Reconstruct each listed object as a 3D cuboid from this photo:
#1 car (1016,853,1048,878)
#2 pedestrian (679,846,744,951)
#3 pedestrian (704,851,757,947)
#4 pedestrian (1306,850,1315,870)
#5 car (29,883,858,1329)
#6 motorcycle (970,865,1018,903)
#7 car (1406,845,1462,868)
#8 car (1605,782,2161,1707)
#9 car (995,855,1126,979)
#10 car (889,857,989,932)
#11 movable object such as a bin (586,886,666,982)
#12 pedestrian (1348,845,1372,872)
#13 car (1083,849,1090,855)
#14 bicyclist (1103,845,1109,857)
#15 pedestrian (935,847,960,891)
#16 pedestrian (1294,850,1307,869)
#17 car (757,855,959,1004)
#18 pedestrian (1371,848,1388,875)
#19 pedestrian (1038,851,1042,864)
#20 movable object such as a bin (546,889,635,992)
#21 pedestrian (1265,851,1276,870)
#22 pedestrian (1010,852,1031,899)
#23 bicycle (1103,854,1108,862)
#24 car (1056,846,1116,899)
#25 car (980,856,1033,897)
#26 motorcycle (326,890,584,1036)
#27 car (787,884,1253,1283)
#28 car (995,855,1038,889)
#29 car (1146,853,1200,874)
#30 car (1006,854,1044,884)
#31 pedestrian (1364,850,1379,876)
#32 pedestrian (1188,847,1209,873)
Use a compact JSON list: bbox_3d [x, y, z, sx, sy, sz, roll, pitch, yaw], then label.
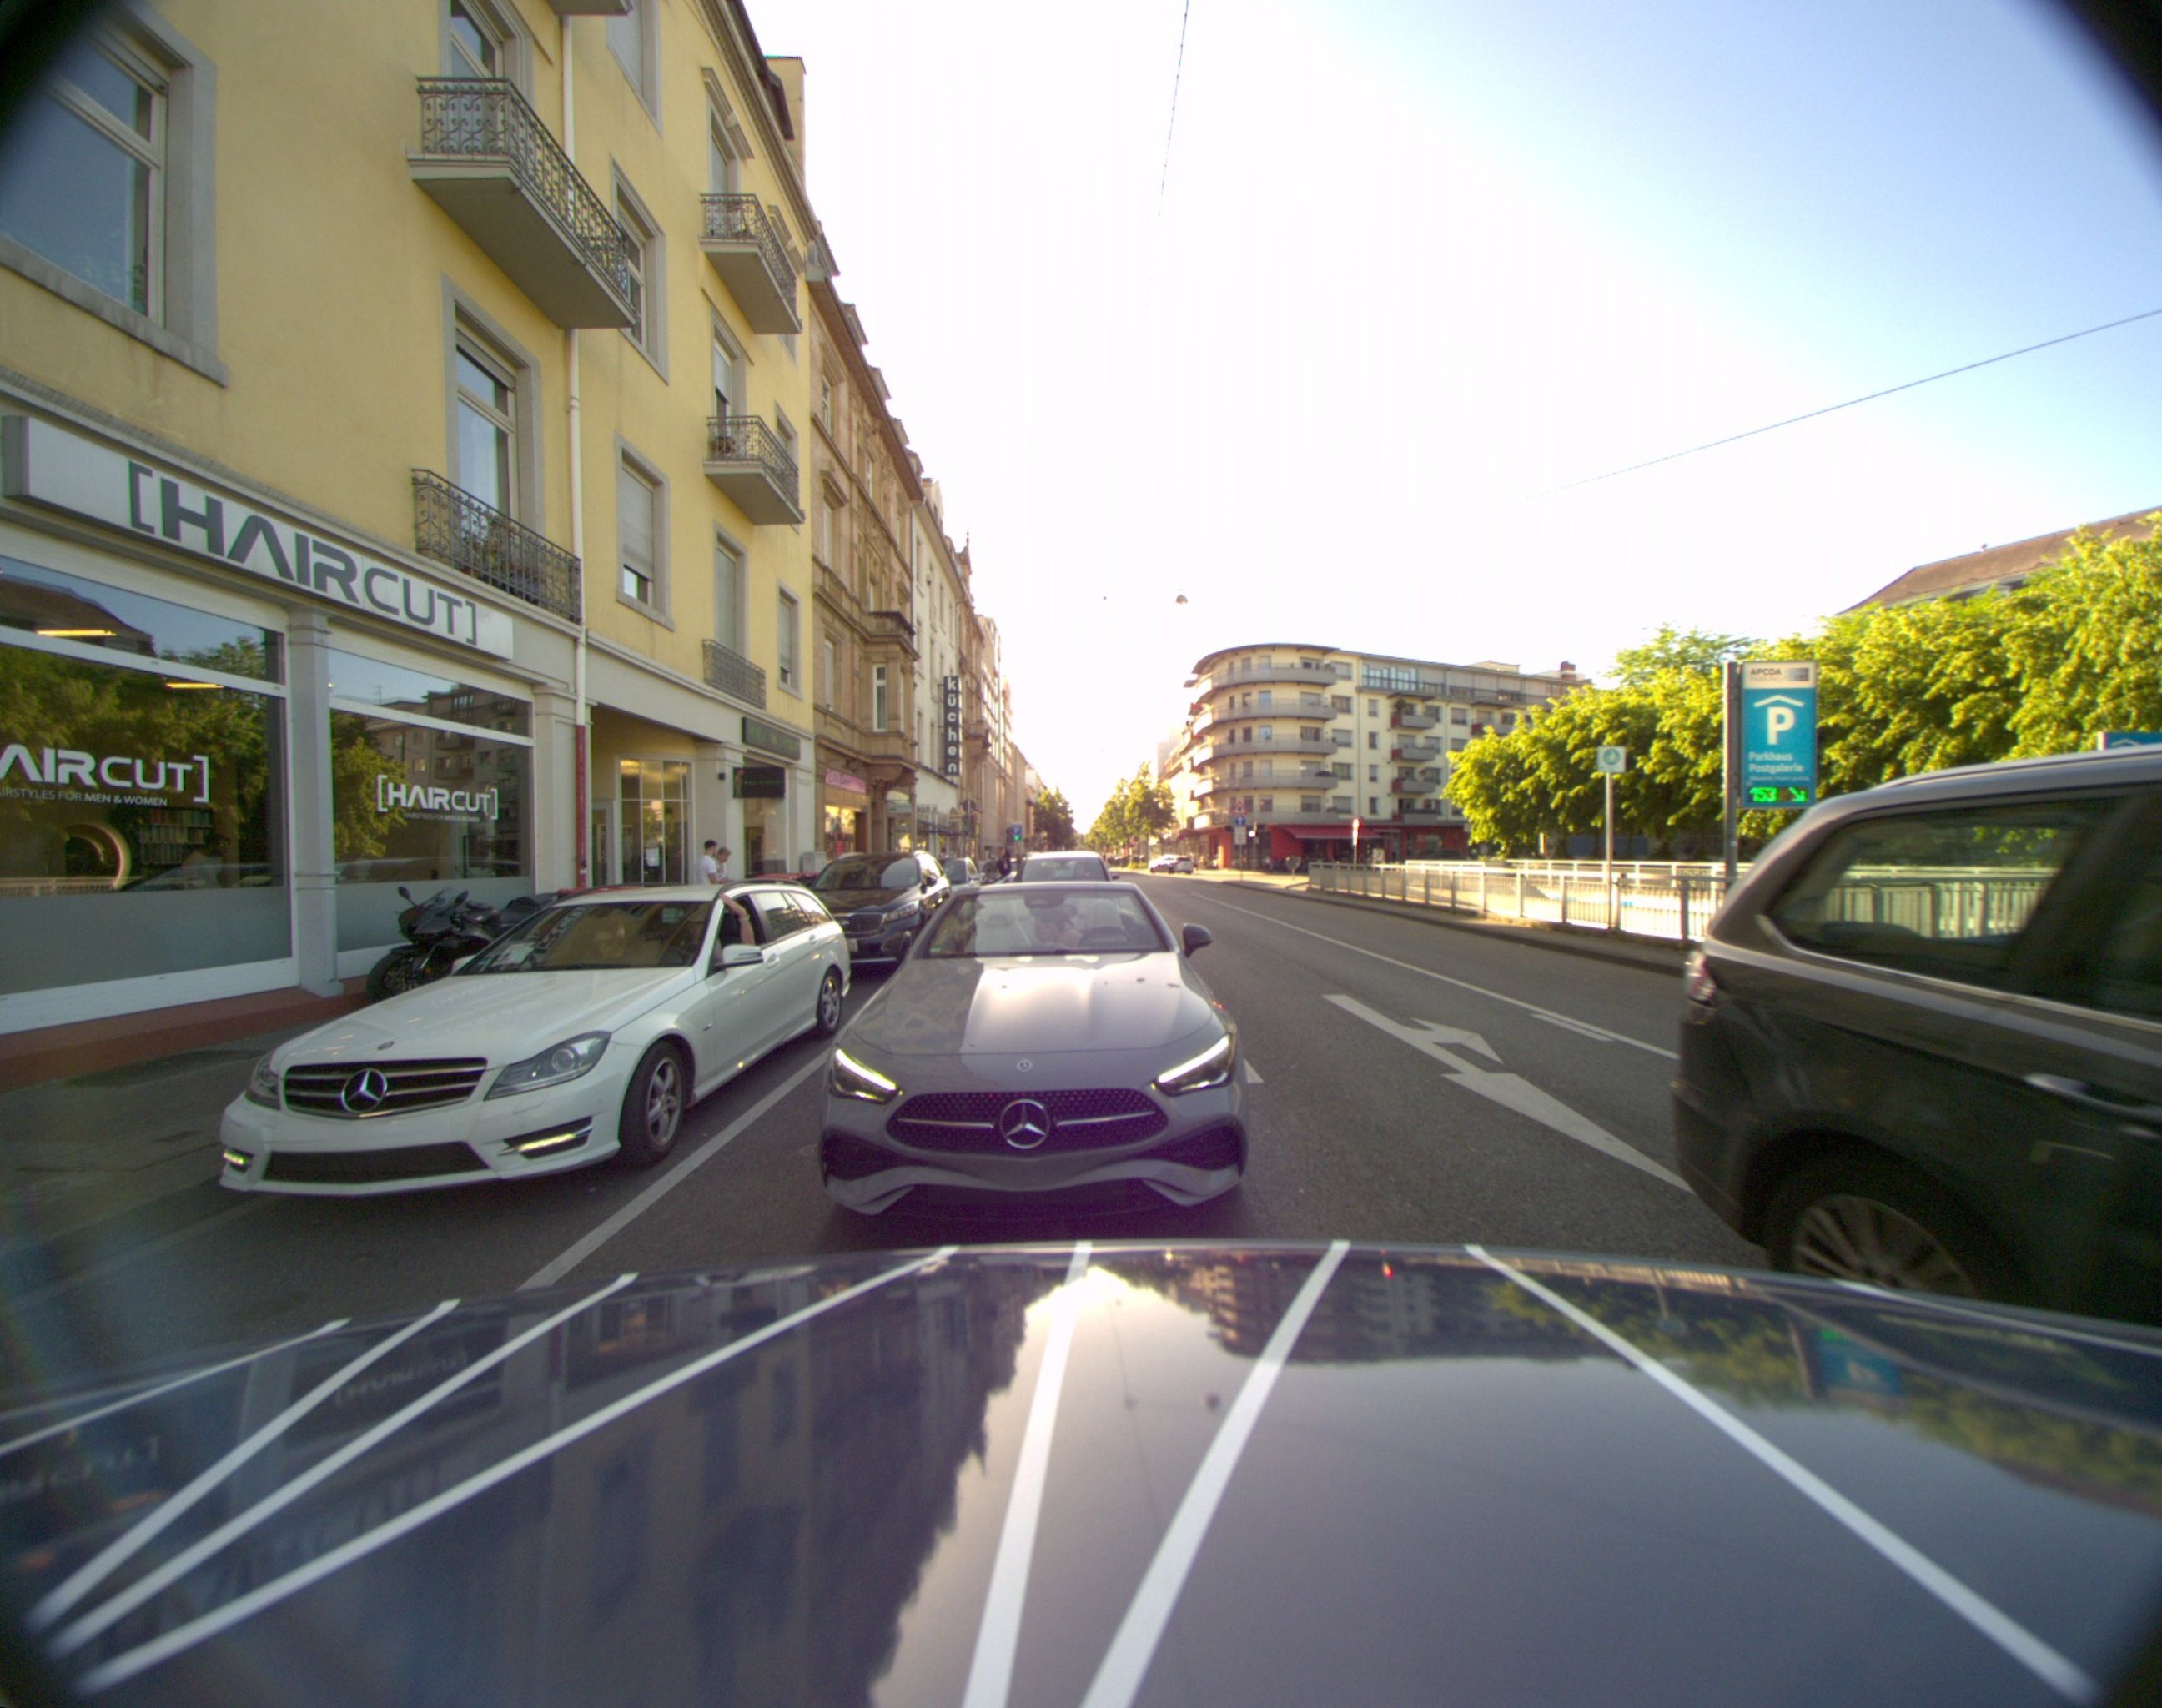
[{"bbox_3d":[-3.025,0.686,47.600,1.715,1.477,4.062,-1,0,0],"label":"car"},{"bbox_3d":[-5.857,0.685,12.079,0.642,1.607,0.701,-1,1,-1],"label":"pedestrian"},{"bbox_3d":[-6.083,0.767,13.212,0.572,1.607,0.643,-1,1,2],"label":"pedestrian"},{"bbox_3d":[17.950,0.458,59.506,0.581,1.481,0.793,-1,1,13],"label":"pedestrian"},{"bbox_3d":[-3.077,1.041,5.179,1.759,1.453,4.597,-1,0,0],"label":"car"},{"bbox_3d":[-3.058,1.043,26.795,0.769,1.225,1.546,-1,1,42],"label":"motorcycle"},{"bbox_3d":[29.033,0.171,62.458,4.004,1.740,1.996,-2,1,-23],"label":"car"},{"bbox_3d":[2.905,0.750,0.383,1.999,1.761,4.727,-1,0,0],"label":"car"},{"bbox_3d":[-0.251,0.846,12.184,1.716,1.599,4.000,-1,0,1],"label":"car"},{"bbox_3d":[-3.256,0.888,17.900,1.696,1.559,3.018,-1,0,1],"label":"car"},{"bbox_3d":[-6.059,1.049,10.147,0.647,1.200,0.644,-1,1,1],"label":"movable object such as a bin"},{"bbox_3d":[21.736,0.338,59.210,1.234,2.002,1.259,-2,1,-21],"label":"pedestrian"},{"bbox_3d":[1.669,-0.514,237.333,1.998,1.805,4.000,-1,0,1],"label":"car"},{"bbox_3d":[3.472,-0.479,106.679,0.757,1.651,1.144,-2,1,5],"label":"bicyclist"},{"bbox_3d":[-5.016,0.551,28.587,0.795,1.607,0.763,-1,1,-1],"label":"pedestrian"},{"bbox_3d":[17.689,0.436,61.161,0.583,1.453,0.790,-2,1,-37],"label":"pedestrian"},{"bbox_3d":[-3.001,0.888,11.325,1.858,1.688,4.697,-1,0,-4],"label":"car"},{"bbox_3d":[20.287,0.526,51.584,0.755,1.795,0.756,-2,1,-15],"label":"pedestrian"},{"bbox_3d":[-5.904,0.499,109.230,0.527,1.875,0.569,-1,1,0],"label":"pedestrian"},{"bbox_3d":[-6.109,1.059,9.495,0.647,1.200,0.644,-1,1,1],"label":"movable object such as a bin"},{"bbox_3d":[15.052,0.496,60.278,0.791,1.452,0.583,-1,1,10],"label":"pedestrian"},{"bbox_3d":[-2.168,0.759,27.467,0.693,1.657,0.834,-1,1,-3],"label":"pedestrian"},{"bbox_3d":[3.456,0.568,106.789,0.661,1.083,1.971,-1,0,3],"label":"bicycle"},{"bbox_3d":[0.203,0.602,27.255,1.952,1.742,4.000,-1,0,1],"label":"car"},{"bbox_3d":[-2.951,0.874,30.736,1.715,1.477,3.999,-1,0,0],"label":"car"},{"bbox_3d":[-6.262,1.019,7.833,0.773,1.158,2.247,1,0,1],"label":"motorcycle"},{"bbox_3d":[-0.263,1.021,5.224,1.849,1.371,4.255,-2,0,-1],"label":"car"},{"bbox_3d":[-3.051,0.808,36.488,1.715,1.477,3.999,-1,0,0],"label":"car"},{"bbox_3d":[6.877,0.695,57.277,1.806,1.426,4.241,-2,0,-30],"label":"car"},{"bbox_3d":[-2.983,0.758,41.006,1.715,1.477,3.999,-1,0,0],"label":"car"},{"bbox_3d":[19.663,0.605,51.439,0.674,1.696,0.699,-2,1,-7],"label":"pedestrian"},{"bbox_3d":[9.209,0.464,59.370,1.202,2.002,1.018,-3,1,-37],"label":"pedestrian"}]
